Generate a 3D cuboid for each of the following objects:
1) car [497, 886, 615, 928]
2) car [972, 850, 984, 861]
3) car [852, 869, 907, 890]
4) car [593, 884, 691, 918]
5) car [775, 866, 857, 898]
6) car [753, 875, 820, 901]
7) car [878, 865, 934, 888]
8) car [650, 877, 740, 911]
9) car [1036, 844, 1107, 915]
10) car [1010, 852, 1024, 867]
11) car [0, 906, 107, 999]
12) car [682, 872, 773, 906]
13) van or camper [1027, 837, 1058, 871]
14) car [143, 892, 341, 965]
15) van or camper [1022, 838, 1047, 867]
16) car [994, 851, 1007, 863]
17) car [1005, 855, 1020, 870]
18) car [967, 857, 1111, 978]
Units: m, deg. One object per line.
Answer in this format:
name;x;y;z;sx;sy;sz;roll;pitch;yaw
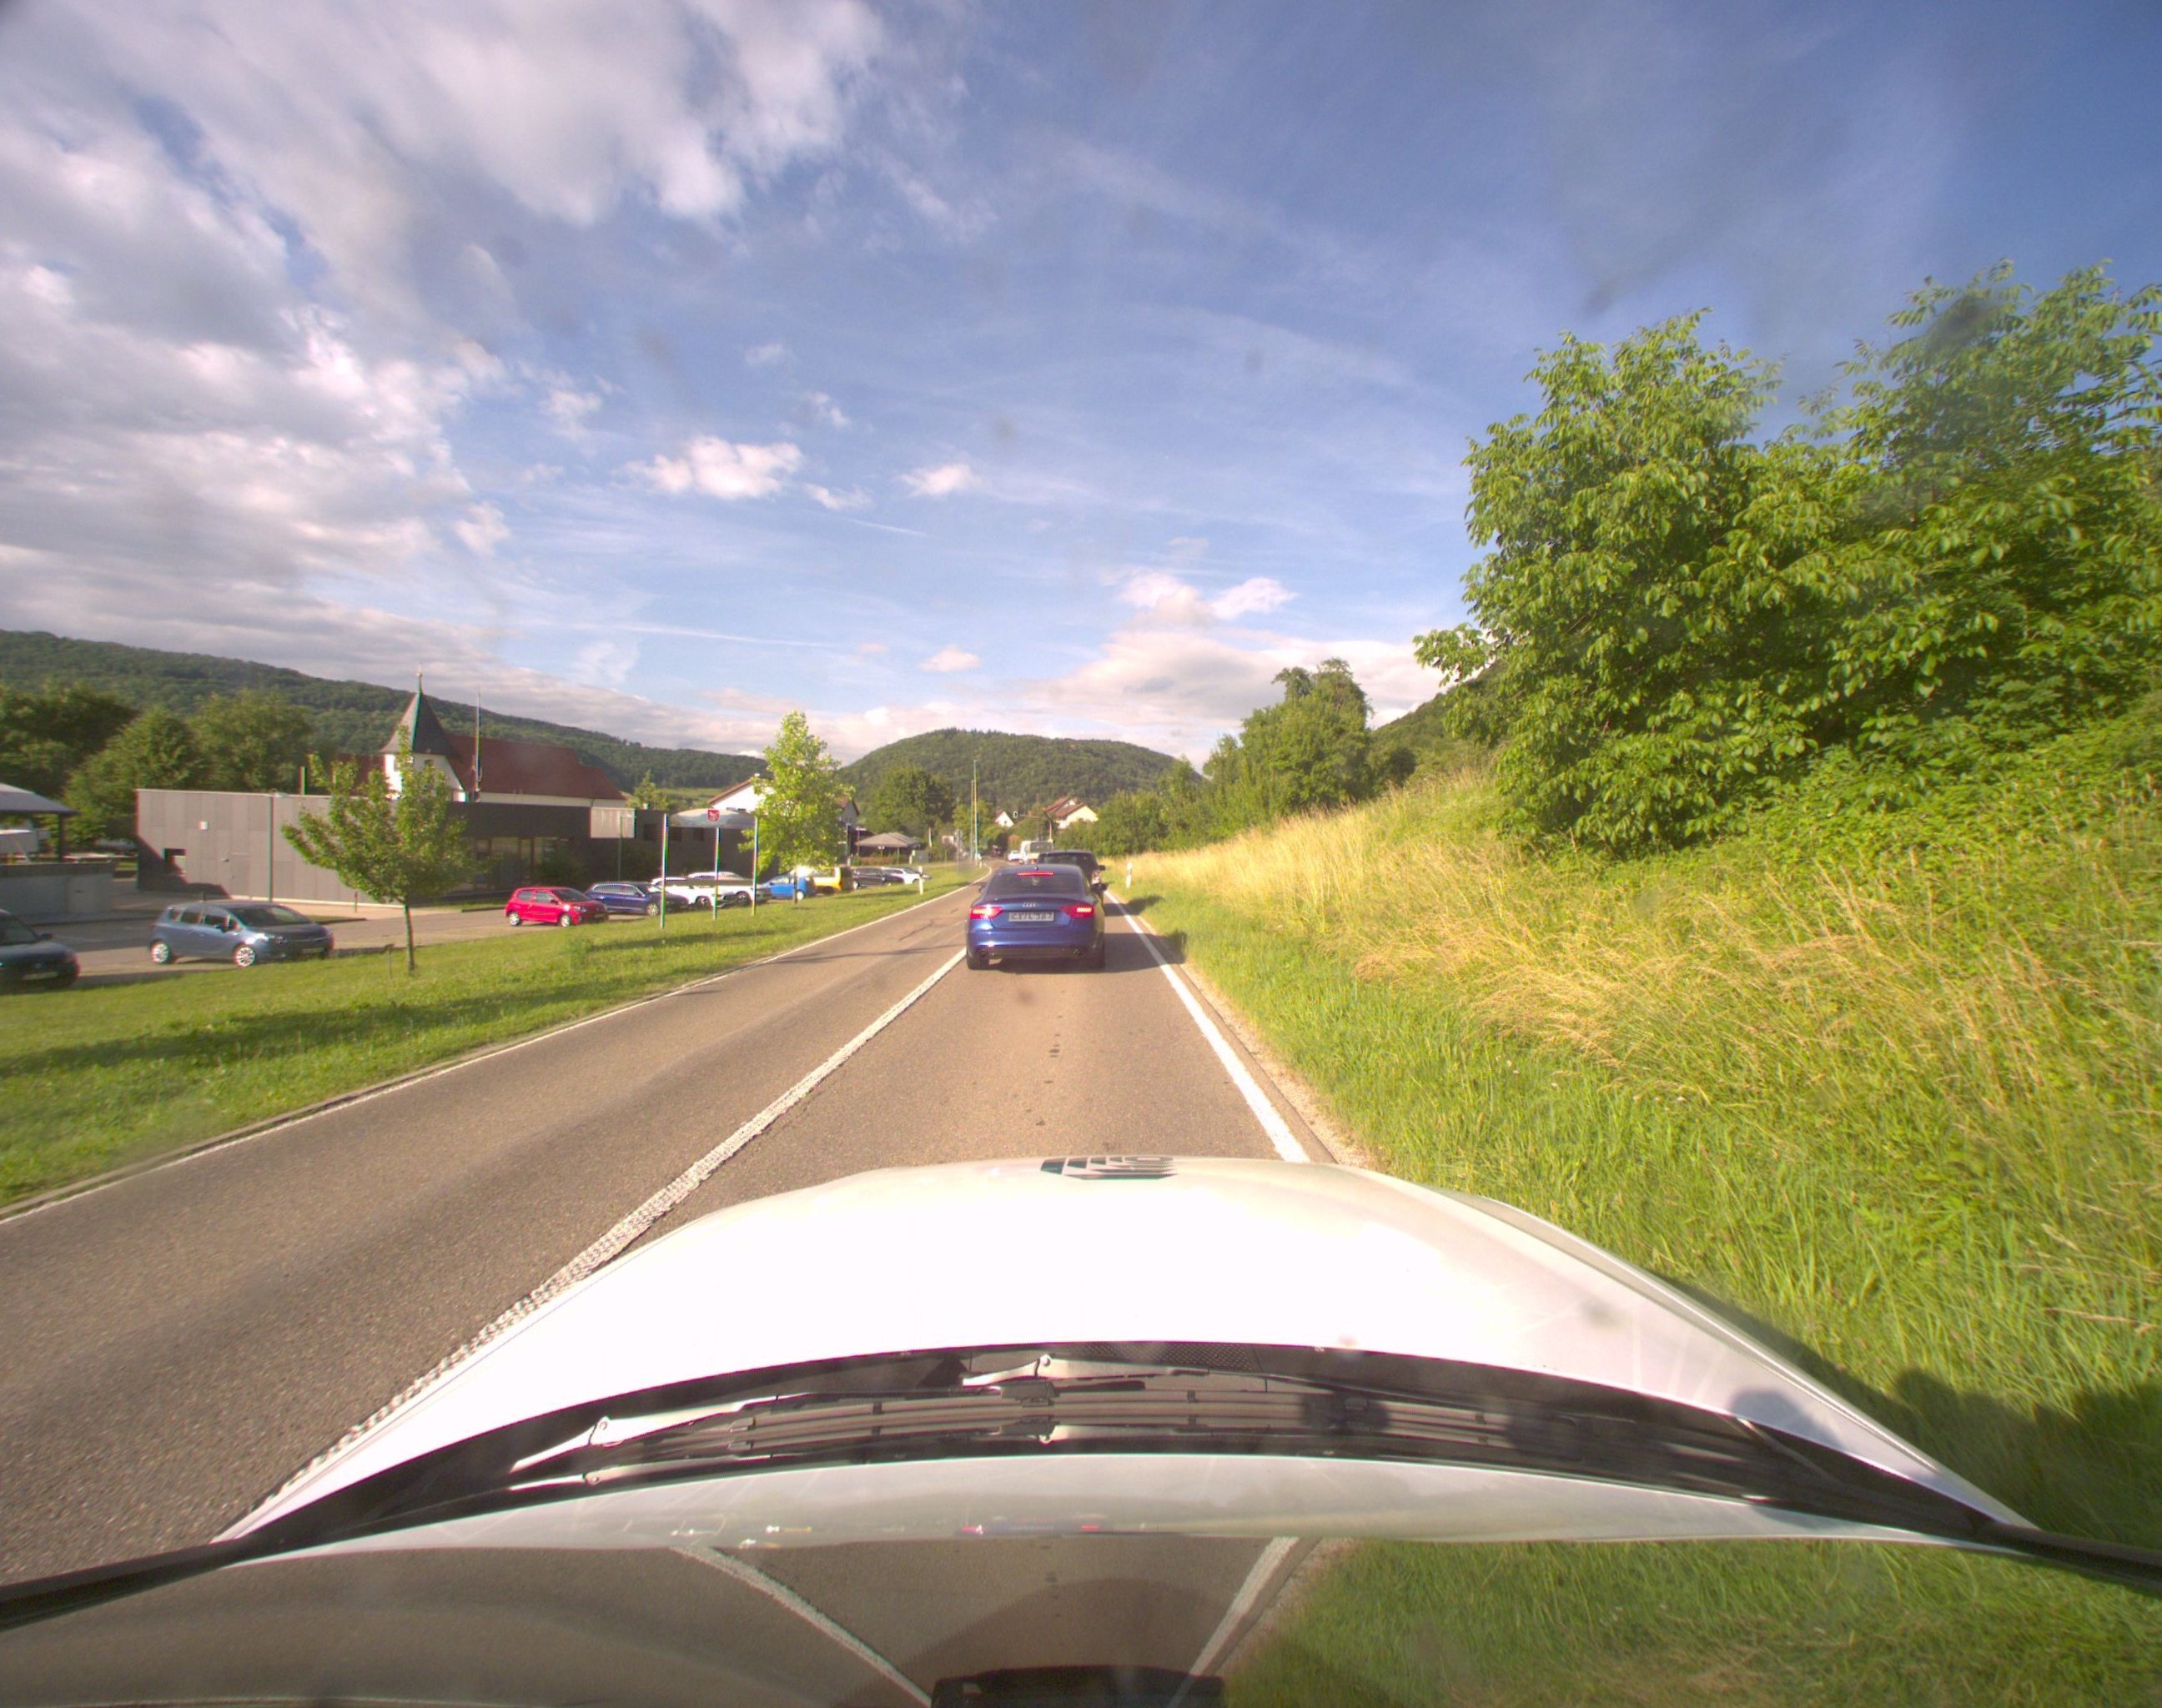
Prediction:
car;-20.168;2.016;31.343;3.601;1.444;1.653;0;1;11
car;-19.826;0.268;156.974;1.680;1.924;3.978;-1;0;-16
car;-15.125;1.917;61.181;3.688;1.439;1.514;-2;-1;11
car;-19.460;2.079;36.130;3.601;1.405;1.601;-1;-2;11
car;-16.644;1.758;51.176;4.524;1.815;1.847;-2;-1;11
car;-17.563;2.003;48.684;3.355;1.373;1.662;-2;-1;3
car;-14.042;1.797;65.571;4.010;1.660;1.661;-2;-1;11
car;-18.673;1.909;39.419;3.642;1.493;1.602;-1;1;11
car;-0.250;0.594;20.628;1.641;1.625;3.515;0;0;-1
car;-8.387;0.690;106.274;1.658;1.924;3.991;-2;0;-6
car;-22.839;1.985;16.779;3.840;1.722;1.760;0;0;8
car;-18.505;1.822;42.724;4.057;1.673;1.599;0;-1;5
van or camper;-3.106;0.017;65.002;2.050;2.505;5.798;-2;0;-6
car;-21.859;1.930;21.287;3.794;1.722;1.737;-1;-1;10
van or camper;-4.745;-0.118;82.836;2.277;2.714;5.756;-2;0;-5
car;-13.790;0.468;138.724;1.679;1.924;3.982;-2;0;-13
car;-9.547;1.200;113.787;1.660;1.924;3.985;-2;0;-11
car;-0.550;0.774;11.644;1.738;1.450;3.514;0;0;-2
